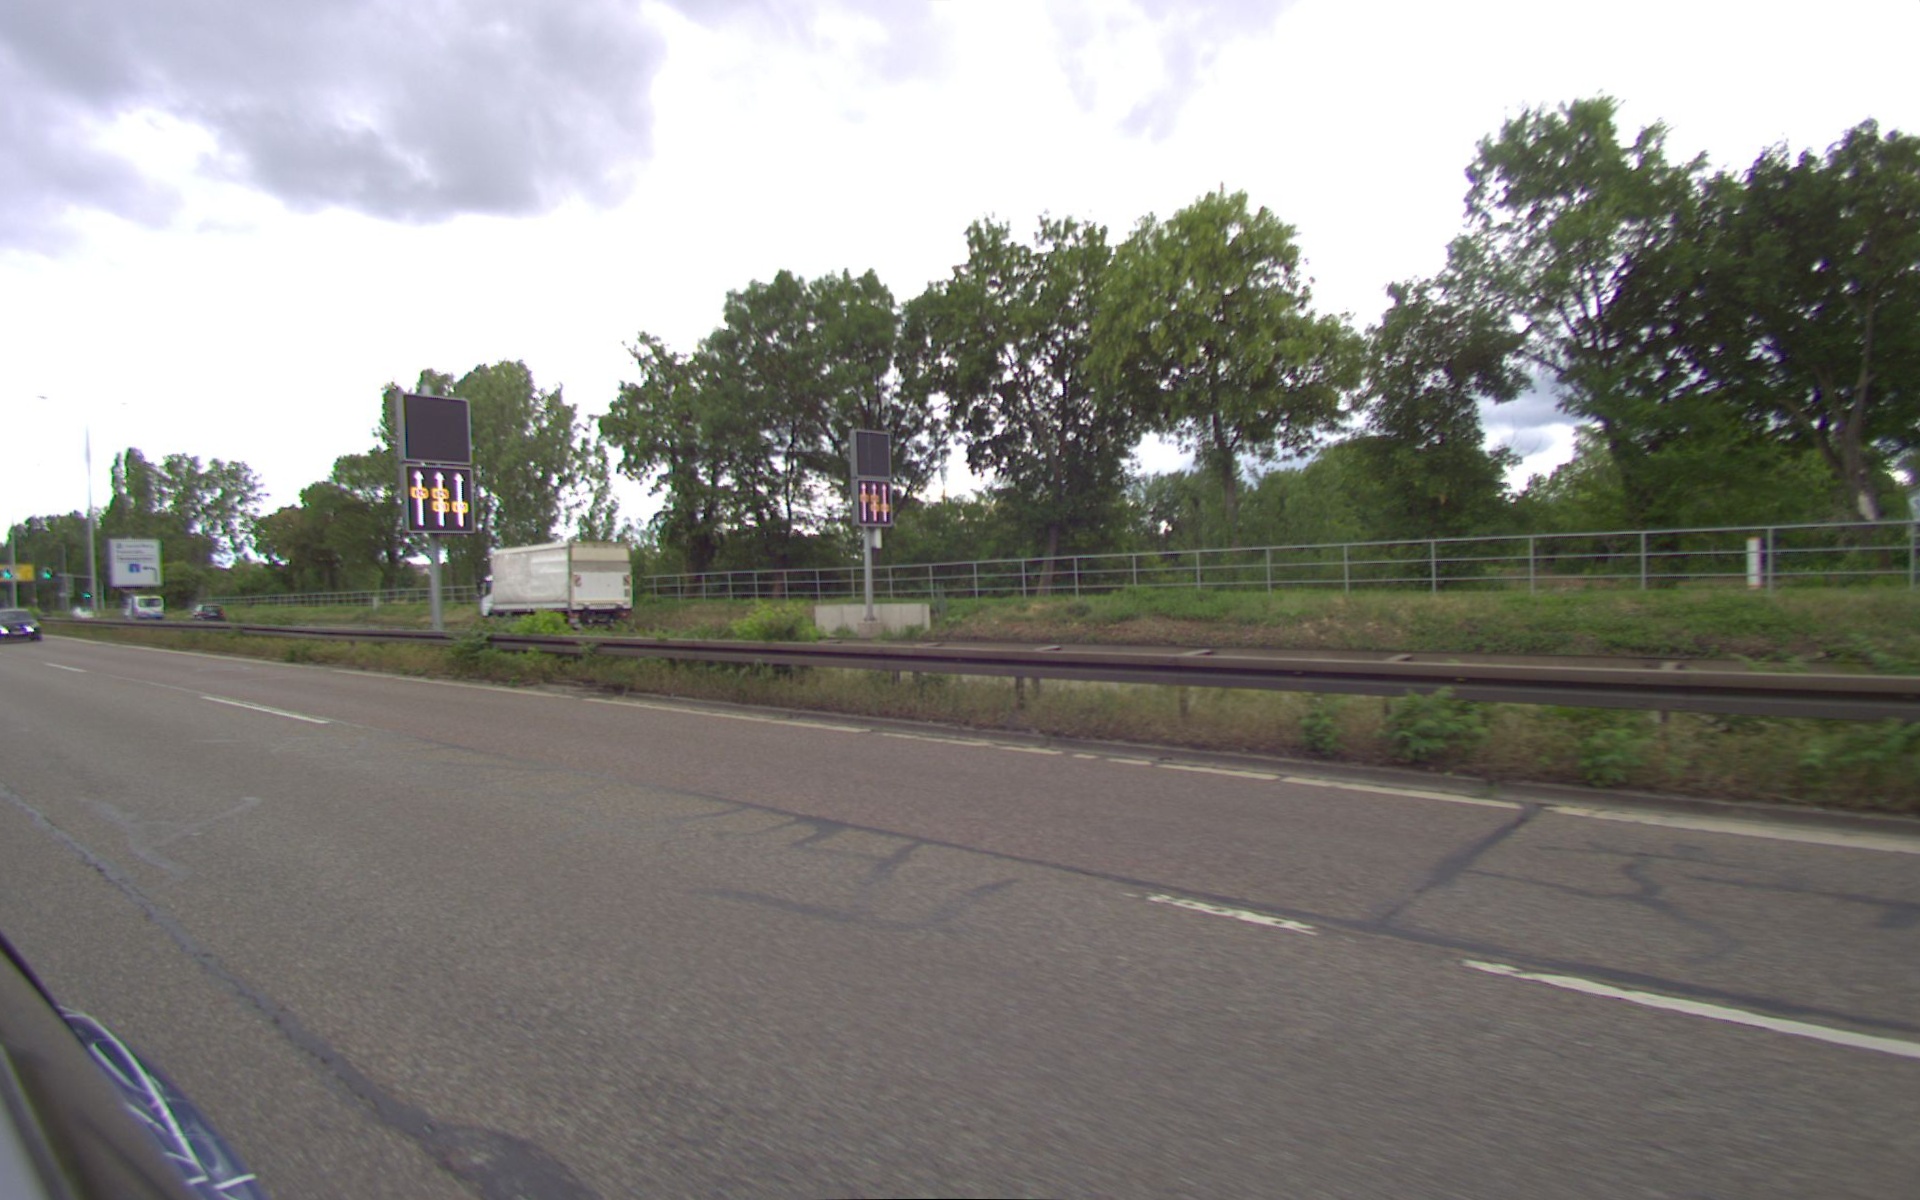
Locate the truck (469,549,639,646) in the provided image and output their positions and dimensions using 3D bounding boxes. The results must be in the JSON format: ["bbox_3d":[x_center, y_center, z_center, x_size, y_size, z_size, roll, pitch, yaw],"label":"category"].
[{"bbox_3d":[-17.029,-0.084,41.955,9.591,3.605,2.857,-1,1,45],"label":"truck"}]

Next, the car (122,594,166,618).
[{"bbox_3d":[-70.052,0.516,86.802,5.475,1.962,2.201,-1,1,44],"label":"car"}]

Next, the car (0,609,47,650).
[{"bbox_3d":[-43.375,1.359,46.228,4.143,1.737,1.860,-2,1,40],"label":"car"}]

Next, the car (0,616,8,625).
[{"bbox_3d":[-139.692,3.008,146.846,4.784,1.309,1.643,-2,1,41],"label":"car"}]

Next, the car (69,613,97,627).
[{"bbox_3d":[-90.373,2.079,104.276,3.987,1.409,1.642,-1,0,42],"label":"car"}]

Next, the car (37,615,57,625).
[{"bbox_3d":[-135.442,2.958,150.099,4.784,1.309,1.643,-2,1,41],"label":"car"}]

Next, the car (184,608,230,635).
[{"bbox_3d":[-53.076,1.522,71.279,4.147,1.737,1.858,-2,1,44],"label":"car"}]
